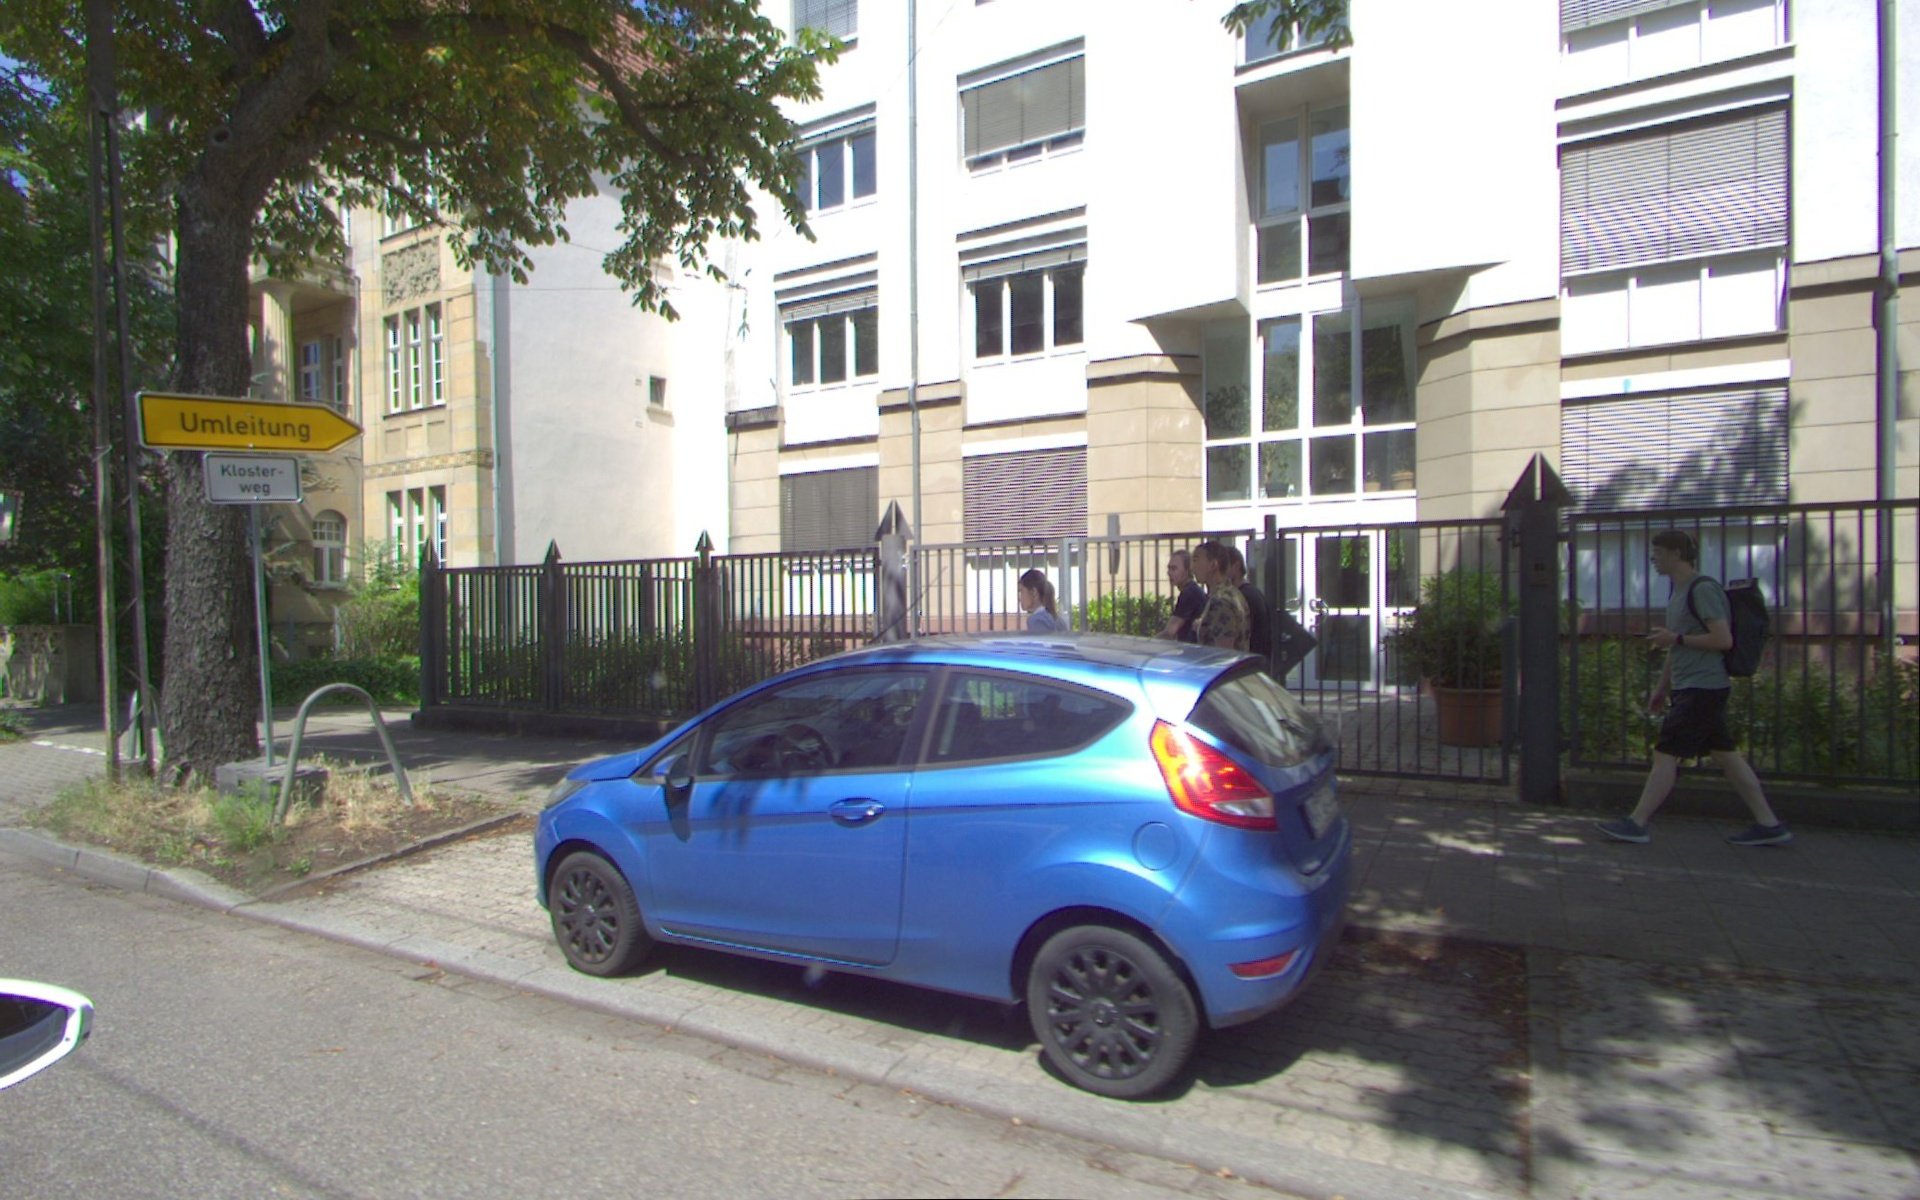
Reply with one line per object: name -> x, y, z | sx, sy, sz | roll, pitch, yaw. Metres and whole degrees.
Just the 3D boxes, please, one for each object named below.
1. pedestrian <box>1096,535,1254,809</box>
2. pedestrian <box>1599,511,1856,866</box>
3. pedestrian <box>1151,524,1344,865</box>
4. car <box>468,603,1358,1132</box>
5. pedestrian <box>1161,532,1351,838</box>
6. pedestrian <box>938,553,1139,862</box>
pedestrian -> 1.556, 0.489, 7.219 | 0.962, 1.835, 0.660 | 0, 0, 29
pedestrian -> 4.301, 0.464, 5.707 | 1.067, 1.821, 0.683 | 0, 0, 29
pedestrian -> 1.680, 0.507, 5.824 | 0.933, 1.800, 0.703 | 0, 0, 31
car -> -0.257, 0.809, 4.534 | 3.664, 1.464, 1.674 | -1, 3, 29
pedestrian -> 1.910, 0.502, 6.427 | 1.036, 1.785, 0.787 | 0, 0, 28
pedestrian -> 0.478, 0.590, 5.997 | 0.959, 1.673, 0.765 | 0, 0, 31
